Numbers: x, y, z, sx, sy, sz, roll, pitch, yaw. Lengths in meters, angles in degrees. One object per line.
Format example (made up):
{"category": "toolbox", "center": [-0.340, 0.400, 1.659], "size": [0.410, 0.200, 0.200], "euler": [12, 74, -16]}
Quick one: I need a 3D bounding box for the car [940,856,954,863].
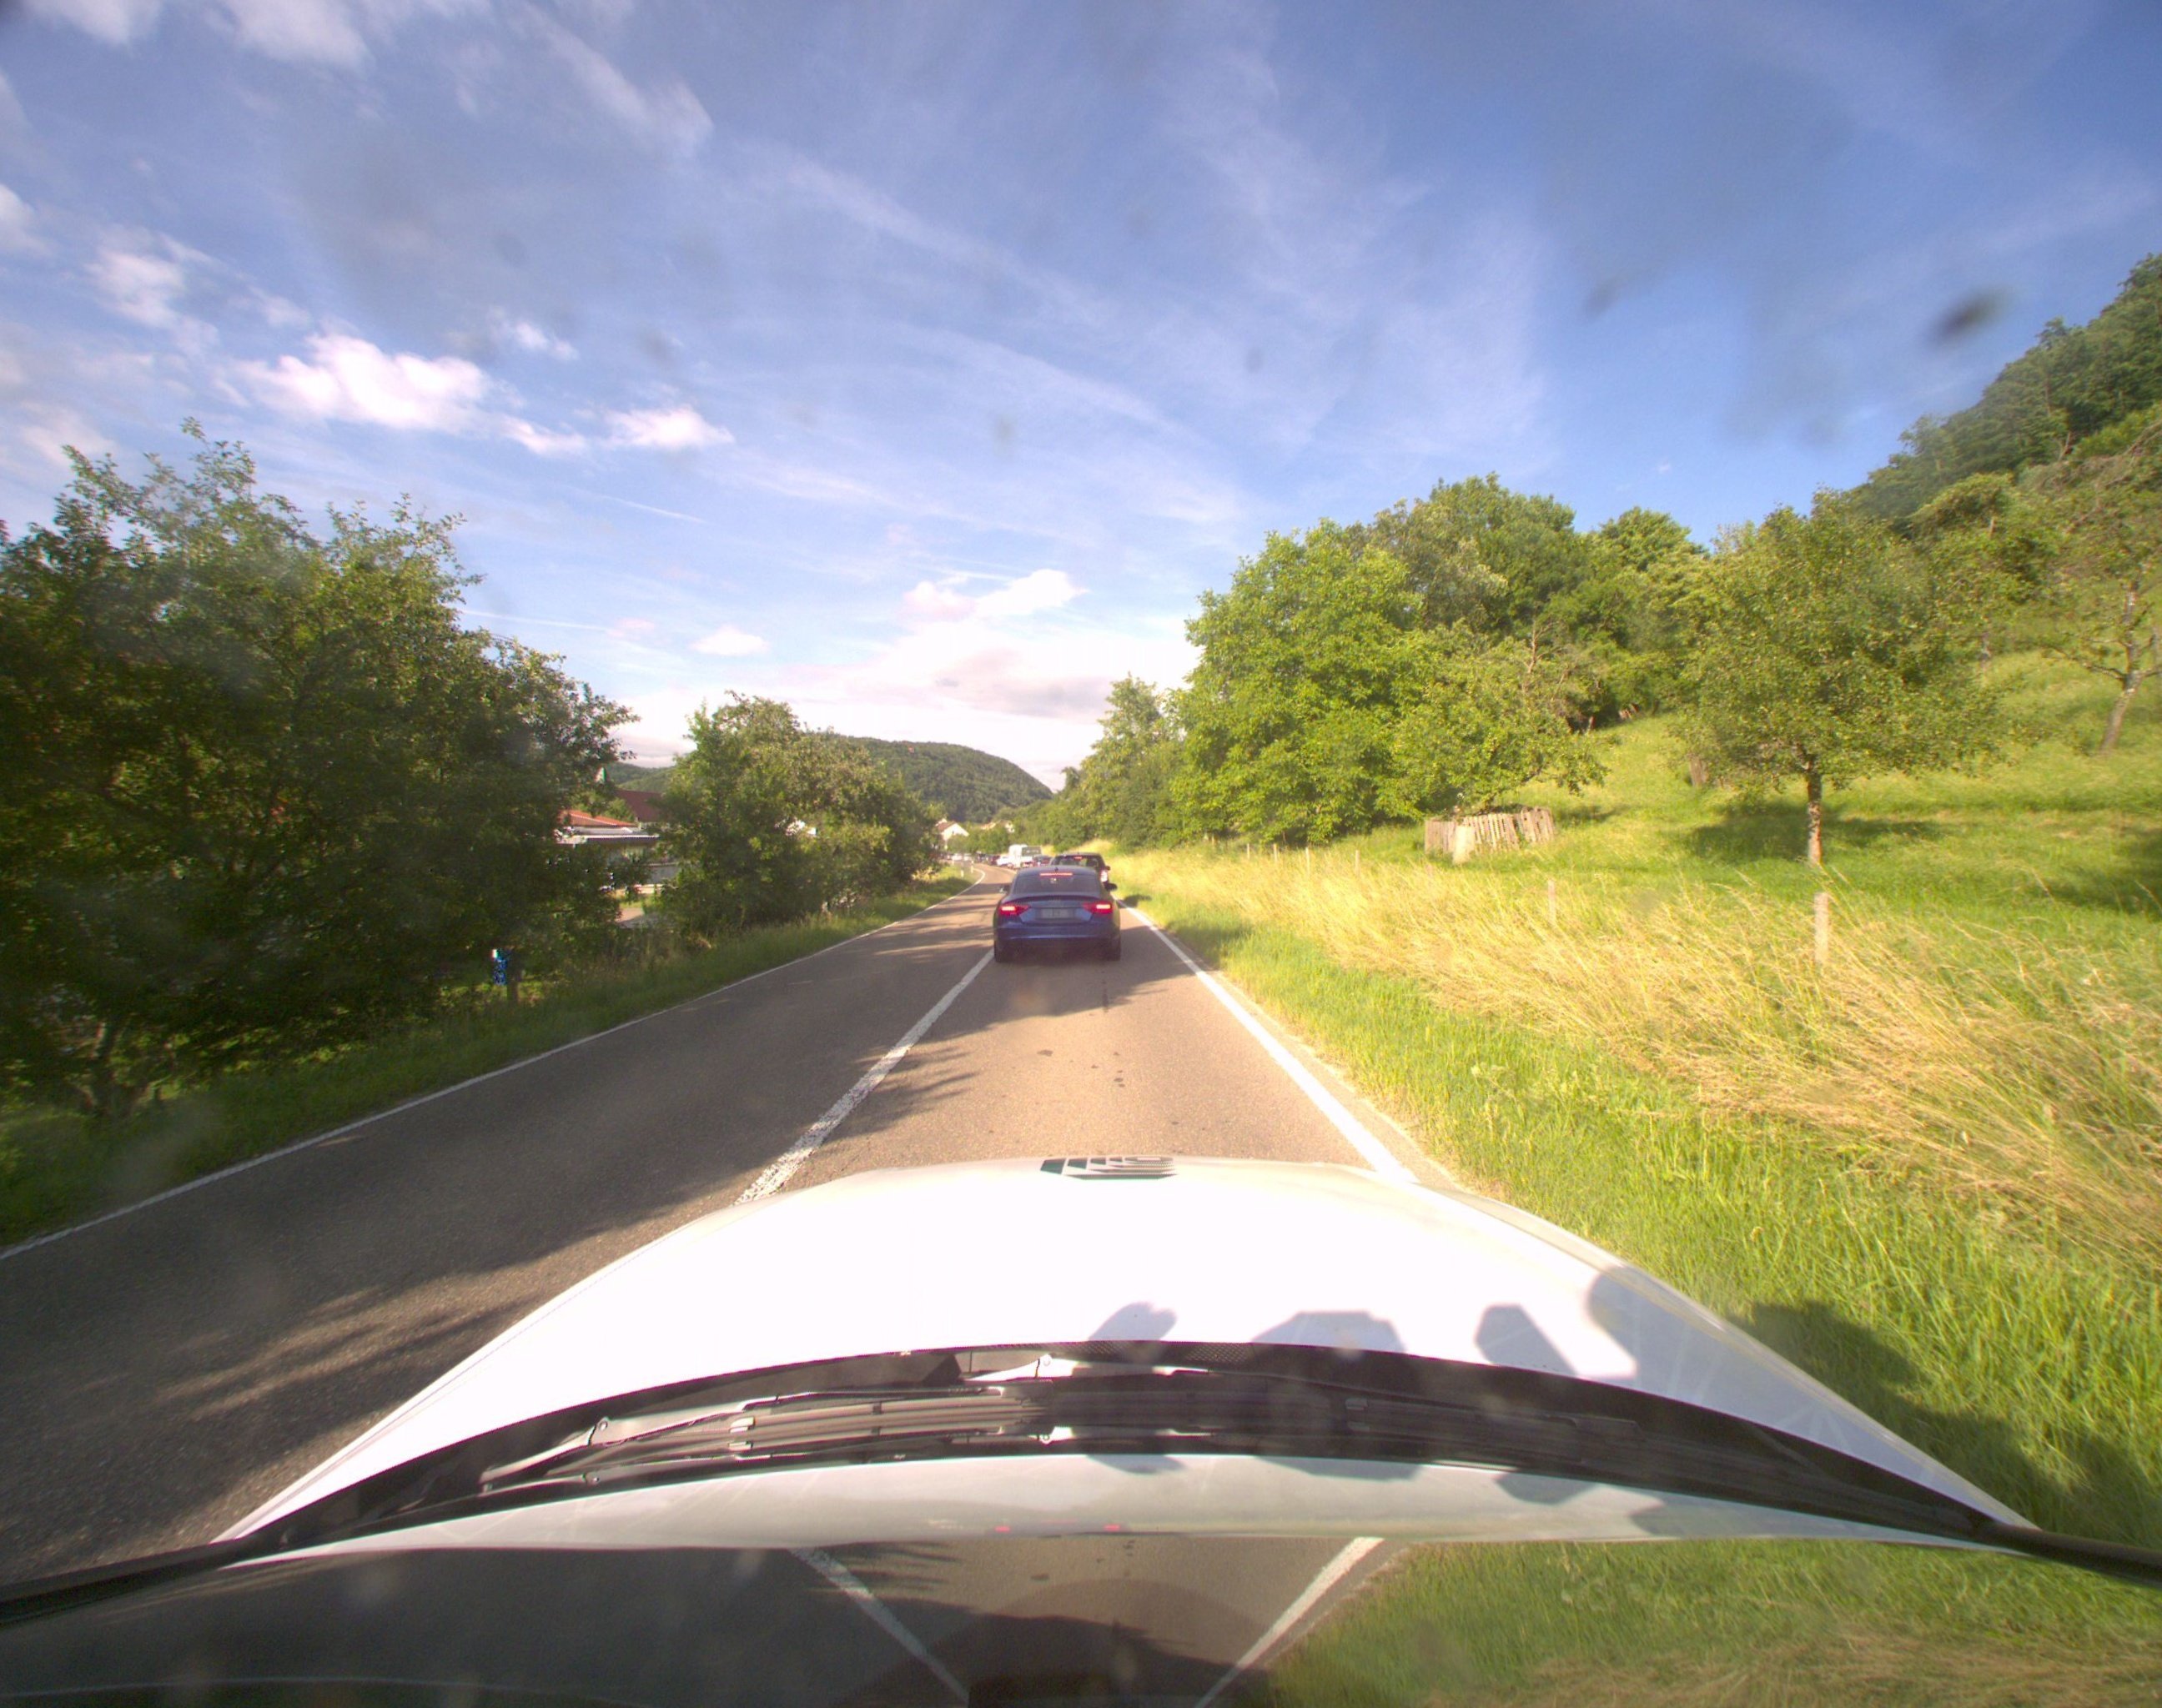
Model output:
{"category": "car", "center": [-27.797, 1.119, 169.232], "size": [2.001, 1.482, 3.971], "euler": [0, -1, -22]}

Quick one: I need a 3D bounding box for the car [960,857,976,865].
{"category": "car", "center": [-20.475, 1.325, 147.565], "size": [2.001, 1.482, 3.971], "euler": [0, -1, -22]}

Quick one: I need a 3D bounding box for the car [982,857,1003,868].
{"category": "car", "center": [-12.022, 1.154, 110.363], "size": [2.000, 1.482, 3.973], "euler": [0, -1, -20]}

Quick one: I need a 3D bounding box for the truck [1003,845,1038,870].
{"category": "truck", "center": [-6.880, 0.373, 91.776], "size": [2.865, 2.665, 10.607], "euler": [-1, 0, -10]}

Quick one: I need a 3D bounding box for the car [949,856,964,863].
{"category": "car", "center": [-24.283, 1.063, 158.606], "size": [2.001, 1.482, 3.971], "euler": [0, -1, -22]}

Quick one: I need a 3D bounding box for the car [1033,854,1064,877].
{"category": "car", "center": [-2.232, 0.780, 55.554], "size": [1.990, 1.482, 3.994], "euler": [-1, -1, -4]}

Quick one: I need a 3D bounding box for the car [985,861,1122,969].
{"category": "car", "center": [-0.313, 0.827, 12.829], "size": [1.787, 1.360, 4.001], "euler": [-1, 0, 1]}

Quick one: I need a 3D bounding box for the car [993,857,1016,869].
{"category": "car", "center": [-9.693, 1.086, 103.330], "size": [2.000, 1.482, 3.973], "euler": [0, -1, -20]}

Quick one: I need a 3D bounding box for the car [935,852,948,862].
{"category": "car", "center": [-30.201, 0.642, 176.174], "size": [2.001, 2.014, 3.972], "euler": [0, -1, -21]}

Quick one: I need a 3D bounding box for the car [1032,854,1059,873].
{"category": "car", "center": [-2.961, 0.784, 67.690], "size": [1.991, 1.482, 3.990], "euler": [-1, -1, -7]}

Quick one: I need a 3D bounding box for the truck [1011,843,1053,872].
{"category": "truck", "center": [-4.951, 0.313, 80.366], "size": [2.865, 2.665, 10.356], "euler": [-1, 0, -10]}

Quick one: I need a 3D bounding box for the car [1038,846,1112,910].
{"category": "car", "center": [-0.147, 0.671, 24.203], "size": [1.987, 1.702, 4.000], "euler": [-1, -1, 0]}

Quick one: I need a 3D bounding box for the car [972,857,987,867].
{"category": "car", "center": [-16.597, 1.334, 132.961], "size": [1.998, 1.482, 3.978], "euler": [0, -1, -16]}

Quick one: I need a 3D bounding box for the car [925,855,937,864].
{"category": "car", "center": [-34.556, 1.172, 187.537], "size": [2.001, 2.014, 3.972], "euler": [0, -1, -21]}
